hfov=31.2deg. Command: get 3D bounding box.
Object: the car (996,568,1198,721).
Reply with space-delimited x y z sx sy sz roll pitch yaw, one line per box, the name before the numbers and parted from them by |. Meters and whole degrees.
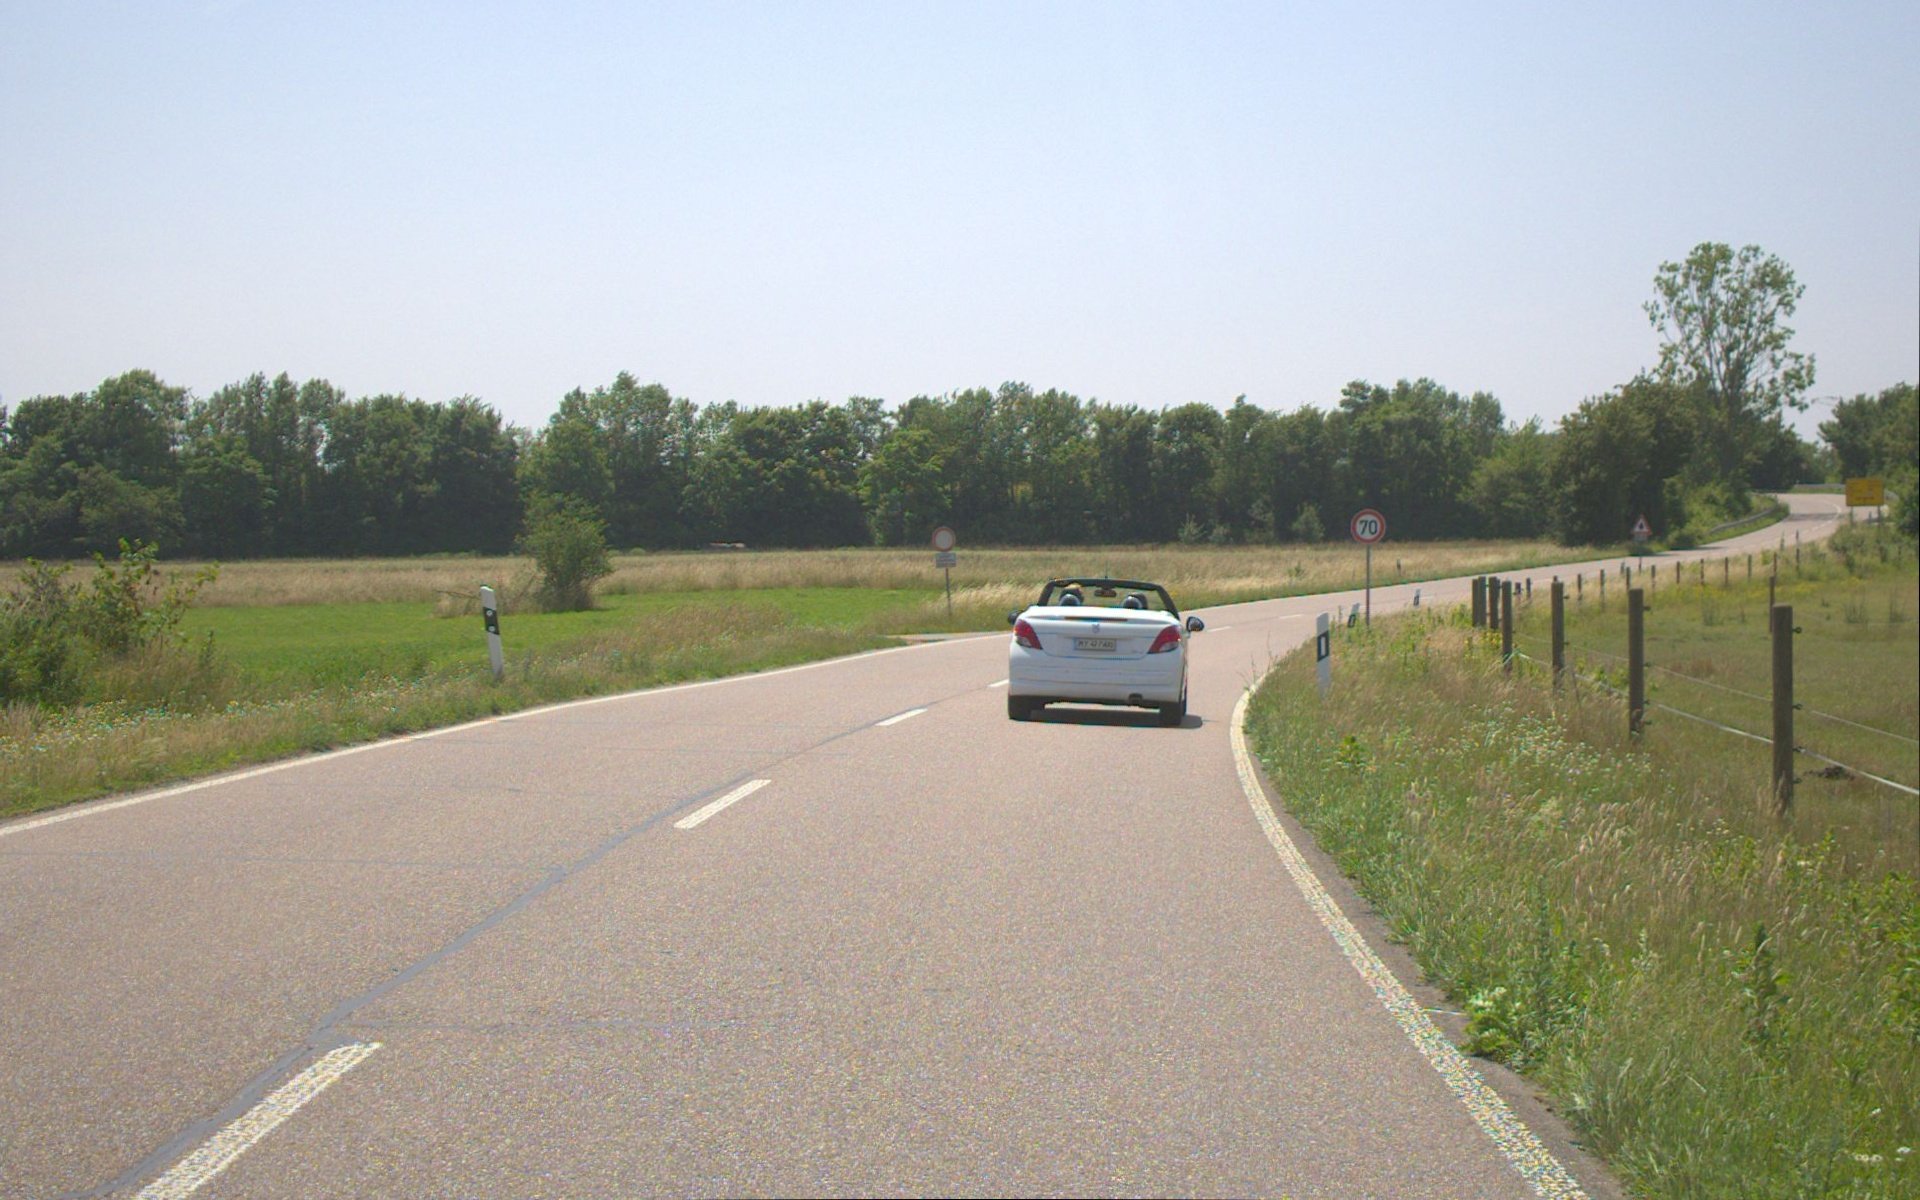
car | 1.411 0.409 34.258 1.851 1.374 3.999 2 0 4
